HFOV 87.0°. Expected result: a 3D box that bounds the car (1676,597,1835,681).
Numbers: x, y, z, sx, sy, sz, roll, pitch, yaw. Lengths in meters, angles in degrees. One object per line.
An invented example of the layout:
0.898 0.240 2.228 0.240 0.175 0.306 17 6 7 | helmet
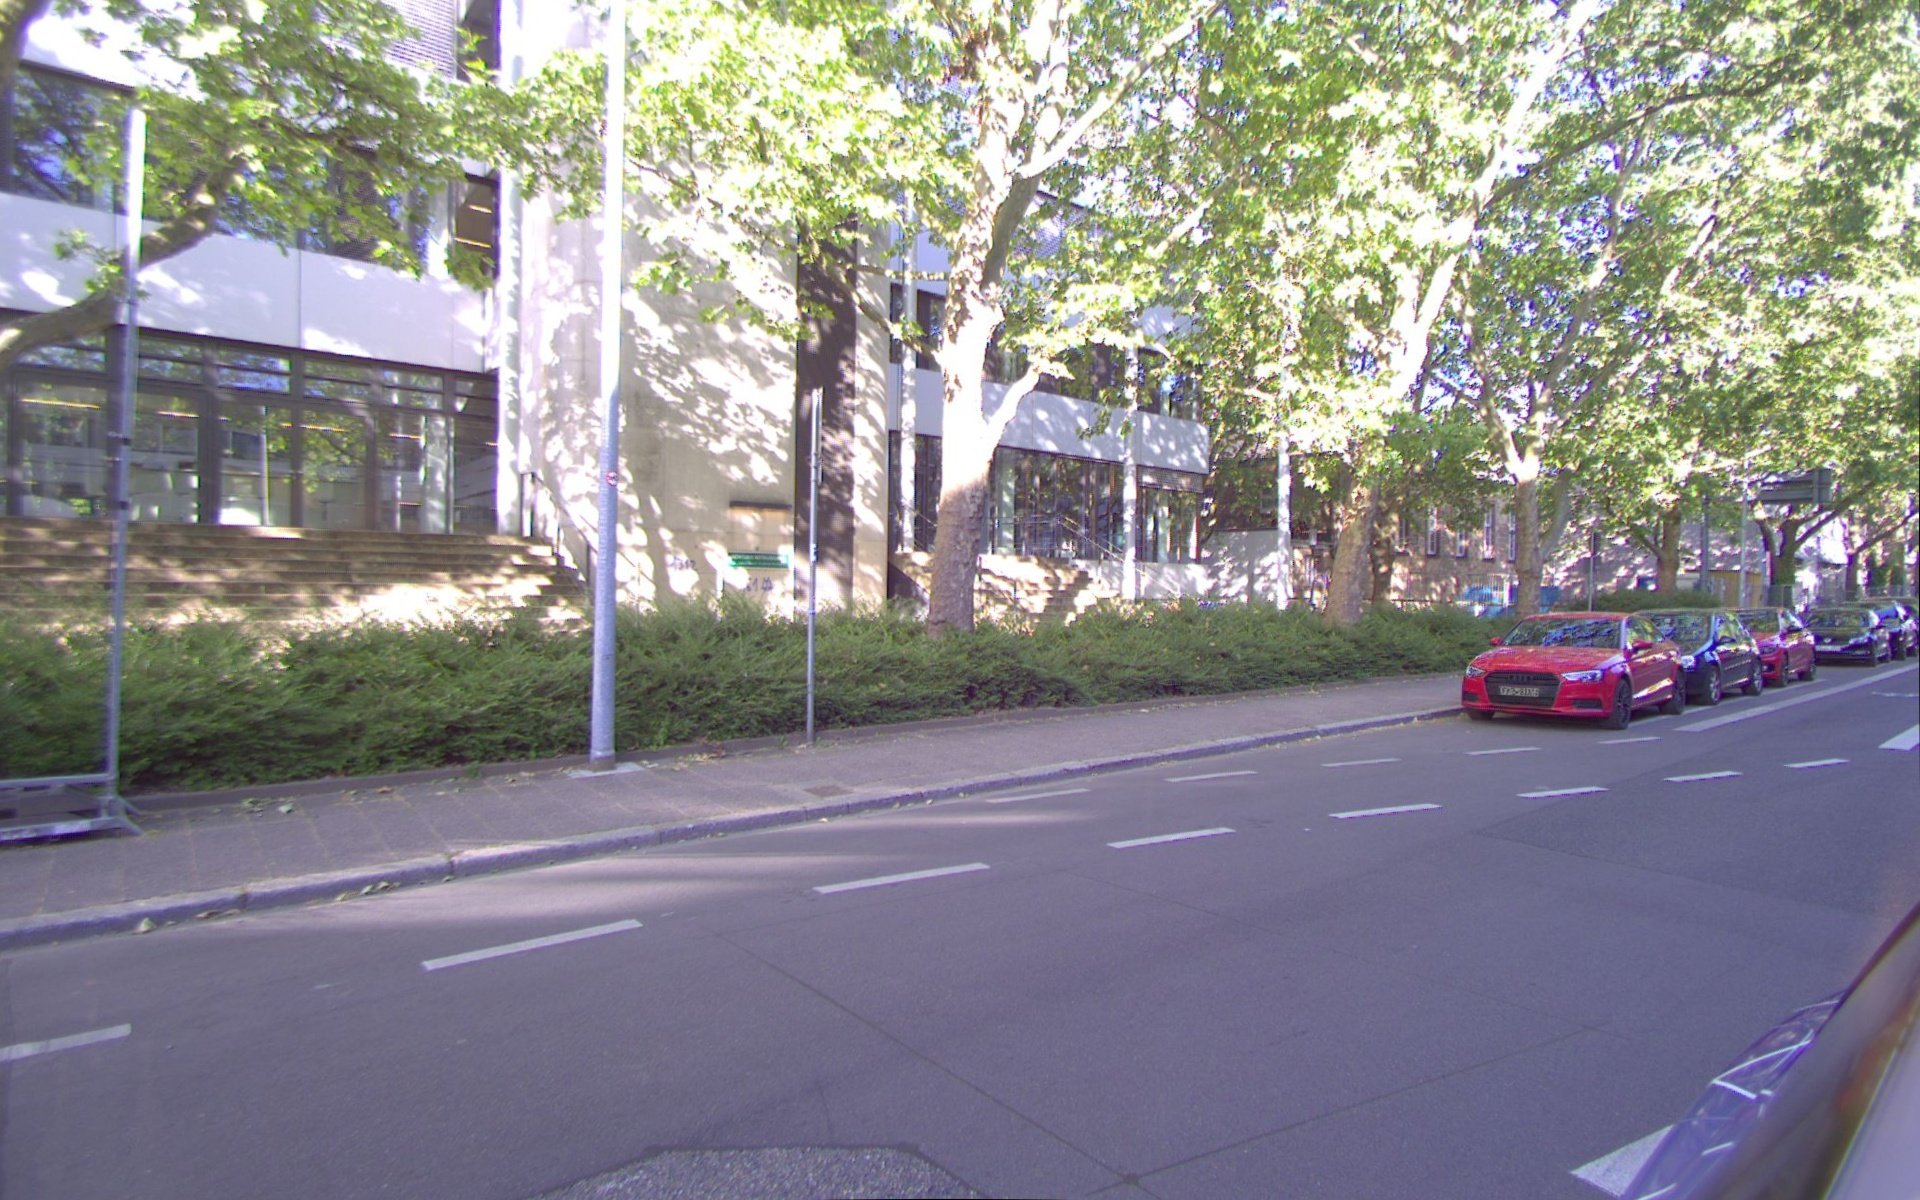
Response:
15.857 0.701 20.102 4.092 1.502 1.815 0 -1 -42 | car

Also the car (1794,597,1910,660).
23.049 0.680 26.095 4.092 1.478 1.788 0 -1 -42 | car

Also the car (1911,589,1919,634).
39.626 0.439 40.395 4.475 1.777 2.040 0 -1 -42 | car

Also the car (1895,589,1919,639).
35.908 0.484 37.245 4.475 1.777 1.788 0 -1 -42 | car

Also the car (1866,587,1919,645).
31.055 0.489 33.009 4.271 1.777 1.788 0 -1 -42 | car

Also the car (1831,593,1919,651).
26.594 0.590 29.127 4.092 1.573 1.788 0 -1 -42 | car

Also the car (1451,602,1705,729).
8.358 0.754 13.542 4.092 1.431 1.815 0 -1 -42 | car

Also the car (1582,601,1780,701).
11.951 0.739 16.682 4.092 1.431 1.815 0 -1 -42 | car
